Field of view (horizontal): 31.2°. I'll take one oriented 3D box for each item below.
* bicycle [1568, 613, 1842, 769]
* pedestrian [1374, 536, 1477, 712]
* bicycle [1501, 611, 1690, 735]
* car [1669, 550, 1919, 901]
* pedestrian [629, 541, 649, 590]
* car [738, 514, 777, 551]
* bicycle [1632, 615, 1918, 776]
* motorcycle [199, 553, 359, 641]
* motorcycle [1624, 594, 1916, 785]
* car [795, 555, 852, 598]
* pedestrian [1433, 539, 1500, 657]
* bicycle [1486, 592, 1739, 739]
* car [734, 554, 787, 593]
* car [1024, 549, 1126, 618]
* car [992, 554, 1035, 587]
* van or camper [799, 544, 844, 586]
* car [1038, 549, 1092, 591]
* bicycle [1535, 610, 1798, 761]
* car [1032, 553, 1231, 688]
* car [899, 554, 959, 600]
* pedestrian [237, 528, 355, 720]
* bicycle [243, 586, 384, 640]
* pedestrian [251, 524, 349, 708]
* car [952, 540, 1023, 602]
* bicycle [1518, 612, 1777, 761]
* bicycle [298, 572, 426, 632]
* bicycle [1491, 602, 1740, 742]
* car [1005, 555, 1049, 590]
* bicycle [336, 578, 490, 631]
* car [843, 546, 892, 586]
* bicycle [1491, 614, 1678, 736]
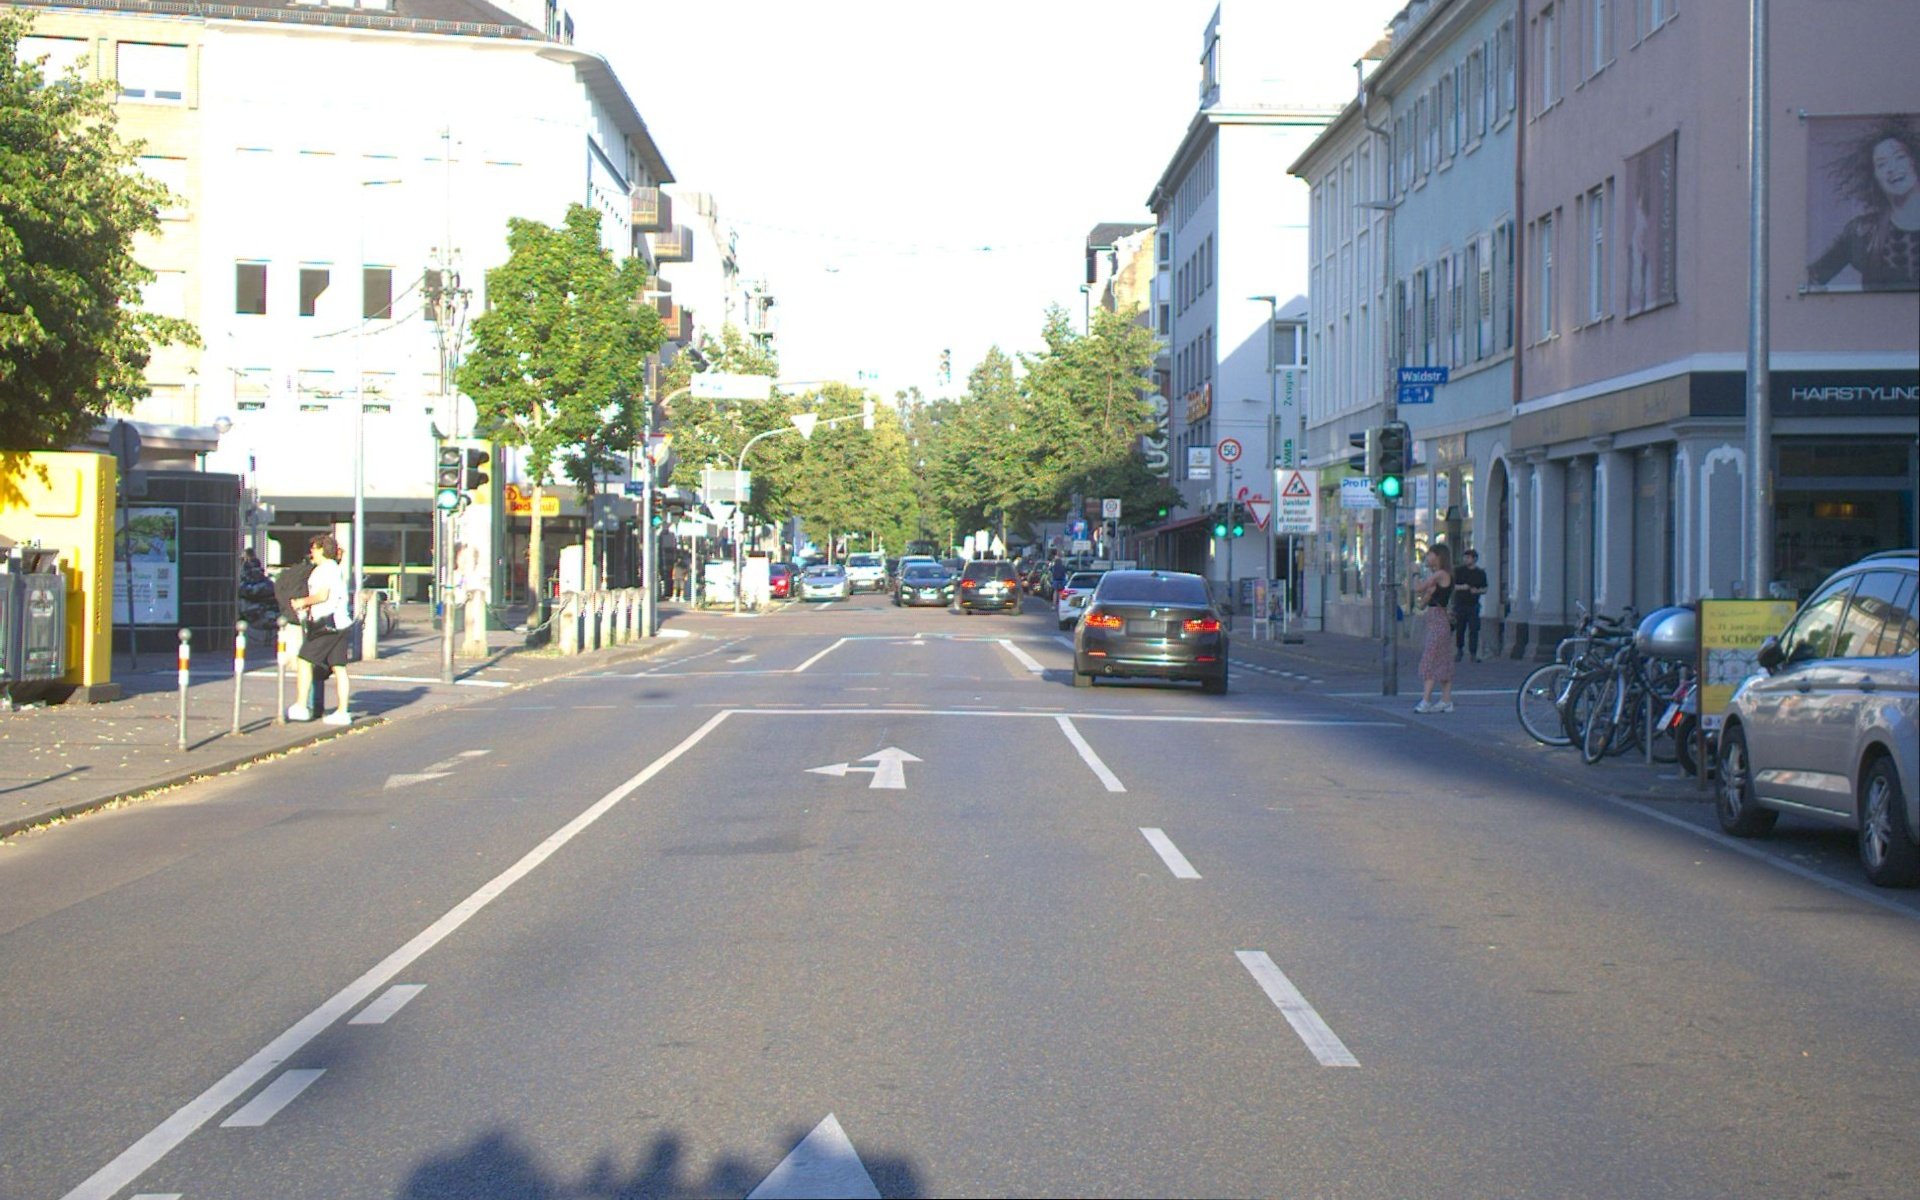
[{"bbox_3d":[5.532,0.673,25.559,1.884,1.109,0.593,1,-1,-3],"label":"bicycle"},{"bbox_3d":[4.618,0.230,34.132,0.794,1.714,0.812,1,1,-7],"label":"pedestrian"},{"bbox_3d":[5.412,0.616,29.297,1.500,1.022,0.512,0,1,-4],"label":"bicycle"},{"bbox_3d":[5.312,0.555,18.175,1.993,1.607,4.804,1,1,-2],"label":"car"},{"bbox_3d":[-11.464,-1.231,122.936,0.600,1.715,0.578,1,1,-14],"label":"pedestrian"},{"bbox_3d":[-11.235,-3.735,190.982,1.828,2.007,3.676,1,1,1],"label":"car"},{"bbox_3d":[5.783,0.668,24.440,1.884,1.108,0.593,0,1,-3],"label":"bicycle"},{"bbox_3d":[-11.199,-0.057,56.565,2.413,1.421,1.113,1,0,-1],"label":"motorcycle"},{"bbox_3d":[5.534,0.600,23.551,1.812,1.259,0.716,-1,1,-3],"label":"motorcycle"},{"bbox_3d":[-5.204,-0.908,131.479,1.894,1.590,4.000,1,1,1],"label":"car"},{"bbox_3d":[7.738,-0.038,52.576,0.757,1.771,1.049,1,1,-5],"label":"pedestrian"},{"bbox_3d":[5.281,0.526,27.885,1.884,1.163,0.723,0,1,-3],"label":"bicycle"},{"bbox_3d":[-8.337,-1.113,144.007,1.894,1.590,4.000,1,1,1],"label":"car"},{"bbox_3d":[2.766,-0.420,83.680,2.334,1.598,3.894,1,1,0],"label":"car"},{"bbox_3d":[2.728,-1.512,175.804,1.894,1.590,4.001,1,1,-3],"label":"car"},{"bbox_3d":[-8.171,-2.075,201.894,2.472,2.397,4.001,1,1,-4],"label":"van or camper"},{"bbox_3d":[4.131,-1.192,135.209,1.993,1.611,4.000,1,1,0],"label":"car"},{"bbox_3d":[5.417,0.654,26.393,1.884,1.109,0.521,1,1,-3],"label":"bicycle"},{"bbox_3d":[1.982,0.201,40.890,1.888,1.487,4.205,1,1,-3],"label":"car"},{"bbox_3d":[-1.024,-0.784,116.372,1.885,1.481,4.000,1,1,1],"label":"car"},{"bbox_3d":[-6.040,0.216,31.257,0.868,1.714,0.760,1,1,-25],"label":"pedestrian"},{"bbox_3d":[-11.218,0.224,59.722,2.327,0.916,0.701,1,0,-2],"label":"bicycle"},{"bbox_3d":[-6.271,0.148,32.657,0.881,1.714,0.715,1,1,-11],"label":"pedestrian"},{"bbox_3d":[0.791,-0.866,101.074,1.993,1.744,4.000,1,1,0],"label":"car"},{"bbox_3d":[5.388,0.675,27.002,1.884,1.108,0.602,1,1,-3],"label":"bicycle"},{"bbox_3d":[-11.592,0.042,66.643,2.323,1.127,0.800,1,0,2],"label":"bicycle"},{"bbox_3d":[5.458,0.594,28.692,1.884,1.108,0.762,1,1,-3],"label":"bicycle"},{"bbox_3d":[3.175,-1.303,162.989,1.780,1.590,3.635,1,1,-3],"label":"car"},{"bbox_3d":[-10.947,0.084,68.865,2.942,1.019,0.843,1,0,3],"label":"bicycle"},{"bbox_3d":[-4.184,-1.532,155.843,1.993,1.744,4.000,1,1,1],"label":"car"},{"bbox_3d":[5.403,0.649,29.786,1.500,1.012,0.512,1,1,-2],"label":"bicycle"}]
